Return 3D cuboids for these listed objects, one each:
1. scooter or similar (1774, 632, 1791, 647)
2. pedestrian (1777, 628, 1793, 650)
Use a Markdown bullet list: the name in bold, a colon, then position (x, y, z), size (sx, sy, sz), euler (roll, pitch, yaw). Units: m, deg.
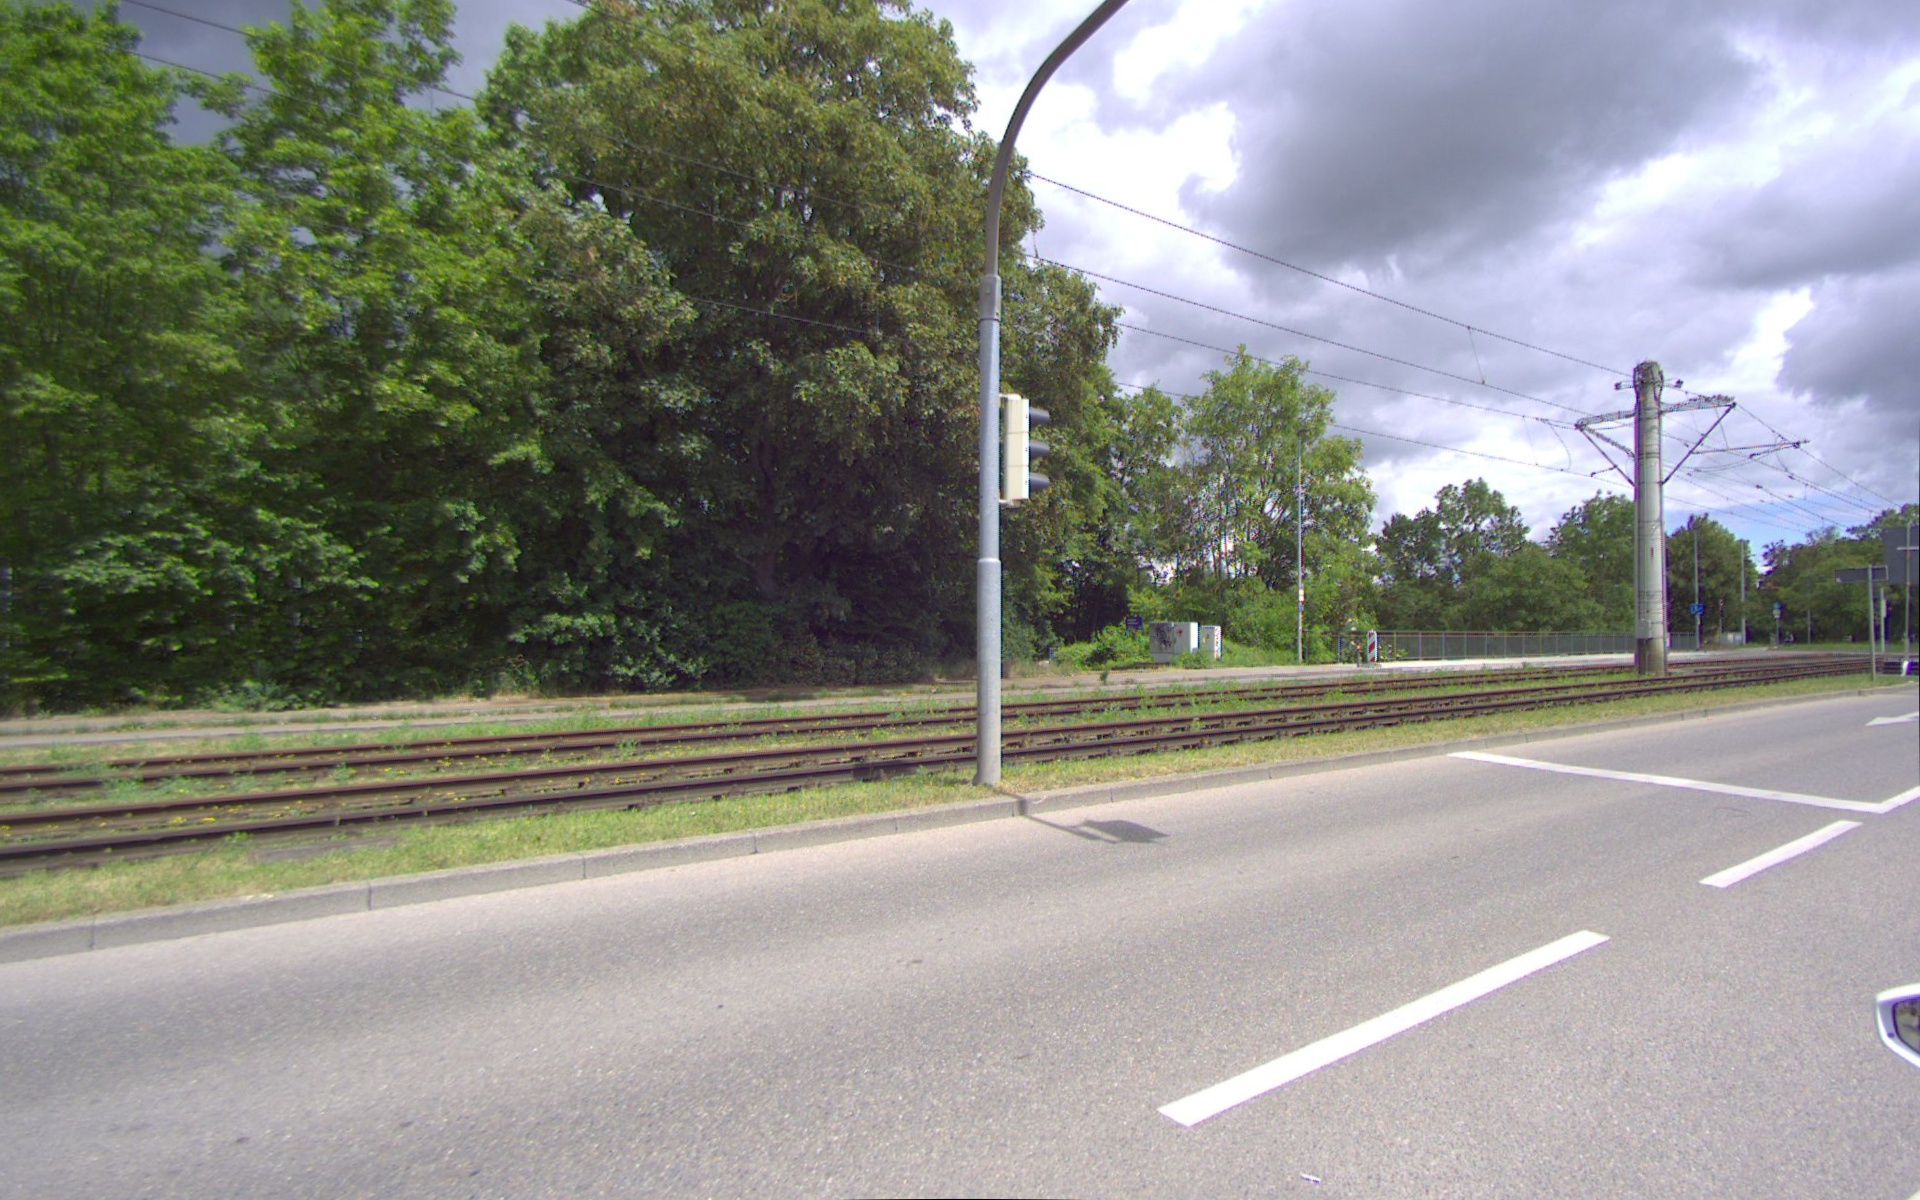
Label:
- **scooter or similar**: position (70.216, 3.371, 85.726), size (0.963, 1.200, 0.884), euler (2, 0, -36)
- **pedestrian**: position (70.840, 3.330, 86.254), size (0.800, 1.835, 0.796), euler (2, 0, -35)
